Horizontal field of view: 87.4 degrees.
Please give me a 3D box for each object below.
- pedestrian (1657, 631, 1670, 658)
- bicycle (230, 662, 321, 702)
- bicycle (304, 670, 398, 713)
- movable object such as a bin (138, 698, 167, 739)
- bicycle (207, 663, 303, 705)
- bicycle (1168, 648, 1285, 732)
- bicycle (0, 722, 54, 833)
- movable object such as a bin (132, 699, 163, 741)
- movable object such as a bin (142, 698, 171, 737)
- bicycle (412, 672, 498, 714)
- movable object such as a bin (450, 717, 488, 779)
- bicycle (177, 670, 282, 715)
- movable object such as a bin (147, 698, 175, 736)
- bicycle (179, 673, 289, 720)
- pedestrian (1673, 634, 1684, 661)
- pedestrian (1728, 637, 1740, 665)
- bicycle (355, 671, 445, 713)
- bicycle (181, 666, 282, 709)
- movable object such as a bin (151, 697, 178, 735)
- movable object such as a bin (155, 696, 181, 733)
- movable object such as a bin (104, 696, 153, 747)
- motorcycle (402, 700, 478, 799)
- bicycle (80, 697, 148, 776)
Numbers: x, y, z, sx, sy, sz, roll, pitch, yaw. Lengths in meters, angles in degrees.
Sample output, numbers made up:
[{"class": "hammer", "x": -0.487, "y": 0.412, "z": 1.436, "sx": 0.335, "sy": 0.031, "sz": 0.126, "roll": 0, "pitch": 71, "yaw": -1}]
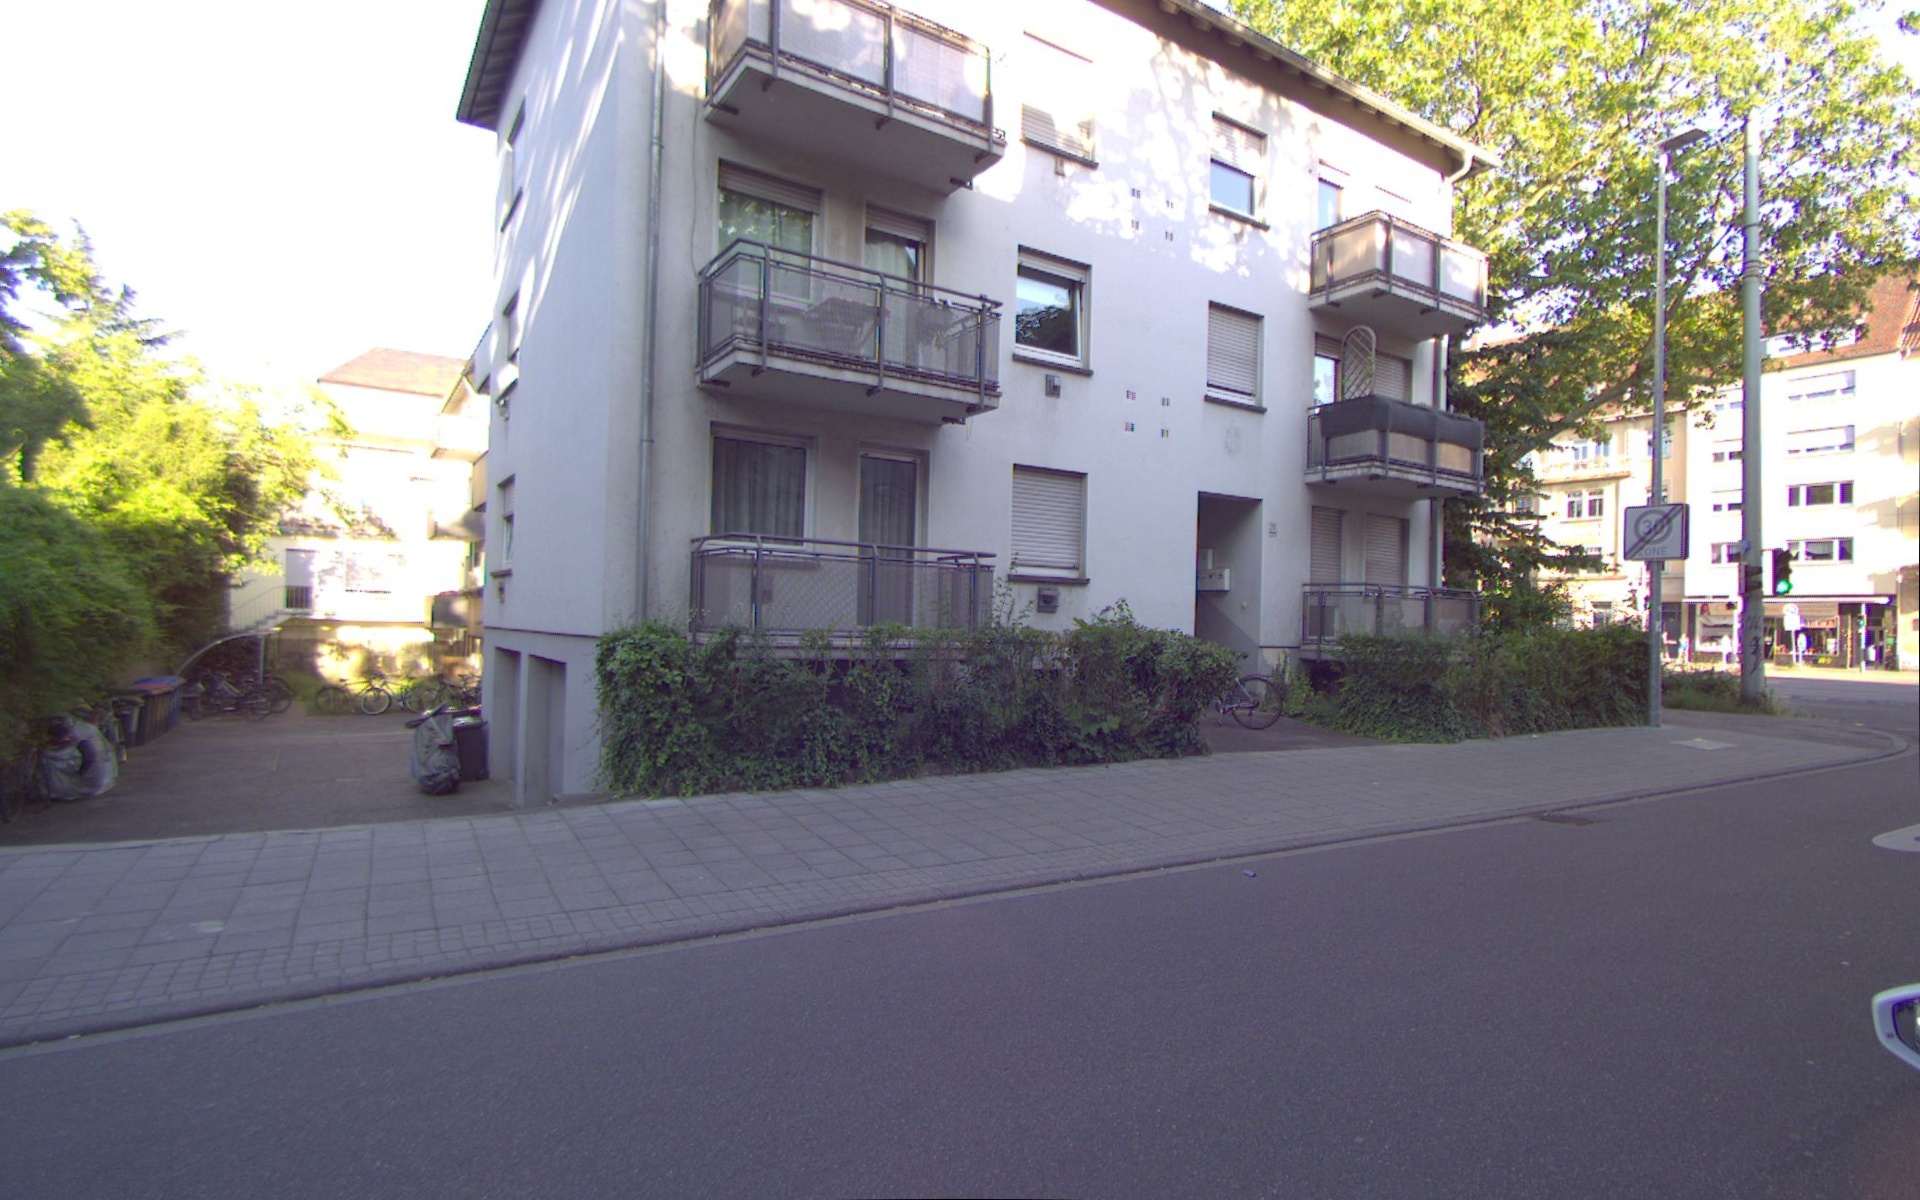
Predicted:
[{"class": "pedestrian", "x": 40.622, "y": 2.575, "z": 58.009, "sx": 0.558, "sy": 1.531, "sz": 0.499, "roll": 0, "pitch": -1, "yaw": 41}, {"class": "bicycle", "x": -19.322, "y": 2.316, "z": 28.409, "sx": 2.045, "sy": 1.034, "sz": 0.564, "roll": 4, "pitch": 0, "yaw": -30}, {"class": "bicycle", "x": -16.001, "y": 2.419, "z": 26.451, "sx": 2.045, "sy": 1.034, "sz": 0.637, "roll": 4, "pitch": 0, "yaw": -30}, {"class": "movable object such as a bin", "x": -16.126, "y": 2.363, "z": 20.059, "sx": 0.377, "sy": 0.784, "sz": 0.361, "roll": 2, "pitch": -4, "yaw": -30}, {"class": "bicycle", "x": -19.301, "y": 2.311, "z": 27.536, "sx": 2.045, "sy": 1.034, "sz": 0.611, "roll": 4, "pitch": 0, "yaw": -30}, {"class": "bicycle", "x": 3.556, "y": 1.185, "z": 13.417, "sx": 1.433, "sy": 0.988, "sz": 0.407, "roll": 3, "pitch": 0, "yaw": 21}, {"class": "bicycle", "x": -11.333, "y": 2.063, "z": 11.895, "sx": 0.509, "sy": 1.033, "sz": 1.922, "roll": 3, "pitch": -2, "yaw": -32}, {"class": "movable object such as a bin", "x": -15.926, "y": 2.346, "z": 19.687, "sx": 0.393, "sy": 0.784, "sz": 0.361, "roll": 2, "pitch": -4, "yaw": -30}, {"class": "movable object such as a bin", "x": -16.342, "y": 2.388, "z": 20.433, "sx": 0.371, "sy": 0.768, "sz": 0.361, "roll": 2, "pitch": -4, "yaw": -30}, {"class": "bicycle", "x": -13.917, "y": 2.565, "z": 27.688, "sx": 2.045, "sy": 1.034, "sz": 0.637, "roll": 4, "pitch": 0, "yaw": -30}, {"class": "movable object such as a bin", "x": -7.828, "y": 2.343, "z": 16.005, "sx": 0.428, "sy": 0.899, "sz": 0.720, "roll": 2, "pitch": -2, "yaw": -34}, {"class": "bicycle", "x": -18.338, "y": 2.329, "z": 25.271, "sx": 2.045, "sy": 1.034, "sz": 0.568, "roll": 4, "pitch": 0, "yaw": -30}, {"class": "movable object such as a bin", "x": -16.528, "y": 2.413, "z": 20.783, "sx": 0.362, "sy": 0.768, "sz": 0.361, "roll": 2, "pitch": -4, "yaw": -30}, {"class": "bicycle", "x": -17.588, "y": 2.349, "z": 24.391, "sx": 2.045, "sy": 1.034, "sz": 0.637, "roll": 4, "pitch": 0, "yaw": -30}, {"class": "pedestrian", "x": 41.226, "y": 2.726, "z": 57.634, "sx": 0.501, "sy": 1.531, "sz": 0.535, "roll": 0, "pitch": -1, "yaw": 35}, {"class": "pedestrian", "x": 42.903, "y": 2.813, "z": 55.672, "sx": 0.467, "sy": 1.531, "sz": 0.429, "roll": 0, "pitch": -1, "yaw": 41}, {"class": "bicycle", "x": -15.043, "y": 2.486, "z": 27.032, "sx": 2.045, "sy": 1.034, "sz": 0.637, "roll": 4, "pitch": 0, "yaw": -30}, {"class": "bicycle", "x": -19.168, "y": 2.308, "z": 26.499, "sx": 2.045, "sy": 1.034, "sz": 0.611, "roll": 4, "pitch": 0, "yaw": -30}, {"class": "movable object such as a bin", "x": -16.721, "y": 2.430, "z": 21.123, "sx": 0.362, "sy": 0.768, "sz": 0.361, "roll": 2, "pitch": -4, "yaw": -30}, {"class": "movable object such as a bin", "x": -16.926, "y": 2.451, "z": 21.469, "sx": 0.342, "sy": 0.768, "sz": 0.361, "roll": 2, "pitch": -4, "yaw": -30}, {"class": "movable object such as a bin", "x": -15.273, "y": 2.225, "z": 18.457, "sx": 0.570, "sy": 0.891, "sz": 0.491, "roll": 3, "pitch": -4, "yaw": -30}, {"class": "motorcycle", "x": -7.703, "y": 2.172, "z": 14.863, "sx": 0.751, "sy": 1.268, "sz": 1.578, "roll": 2, "pitch": -2, "yaw": -36}, {"class": "bicycle", "x": -13.548, "y": 2.158, "z": 16.126, "sx": 0.509, "sy": 1.033, "sz": 1.922, "roll": 3, "pitch": -2, "yaw": -32}]
